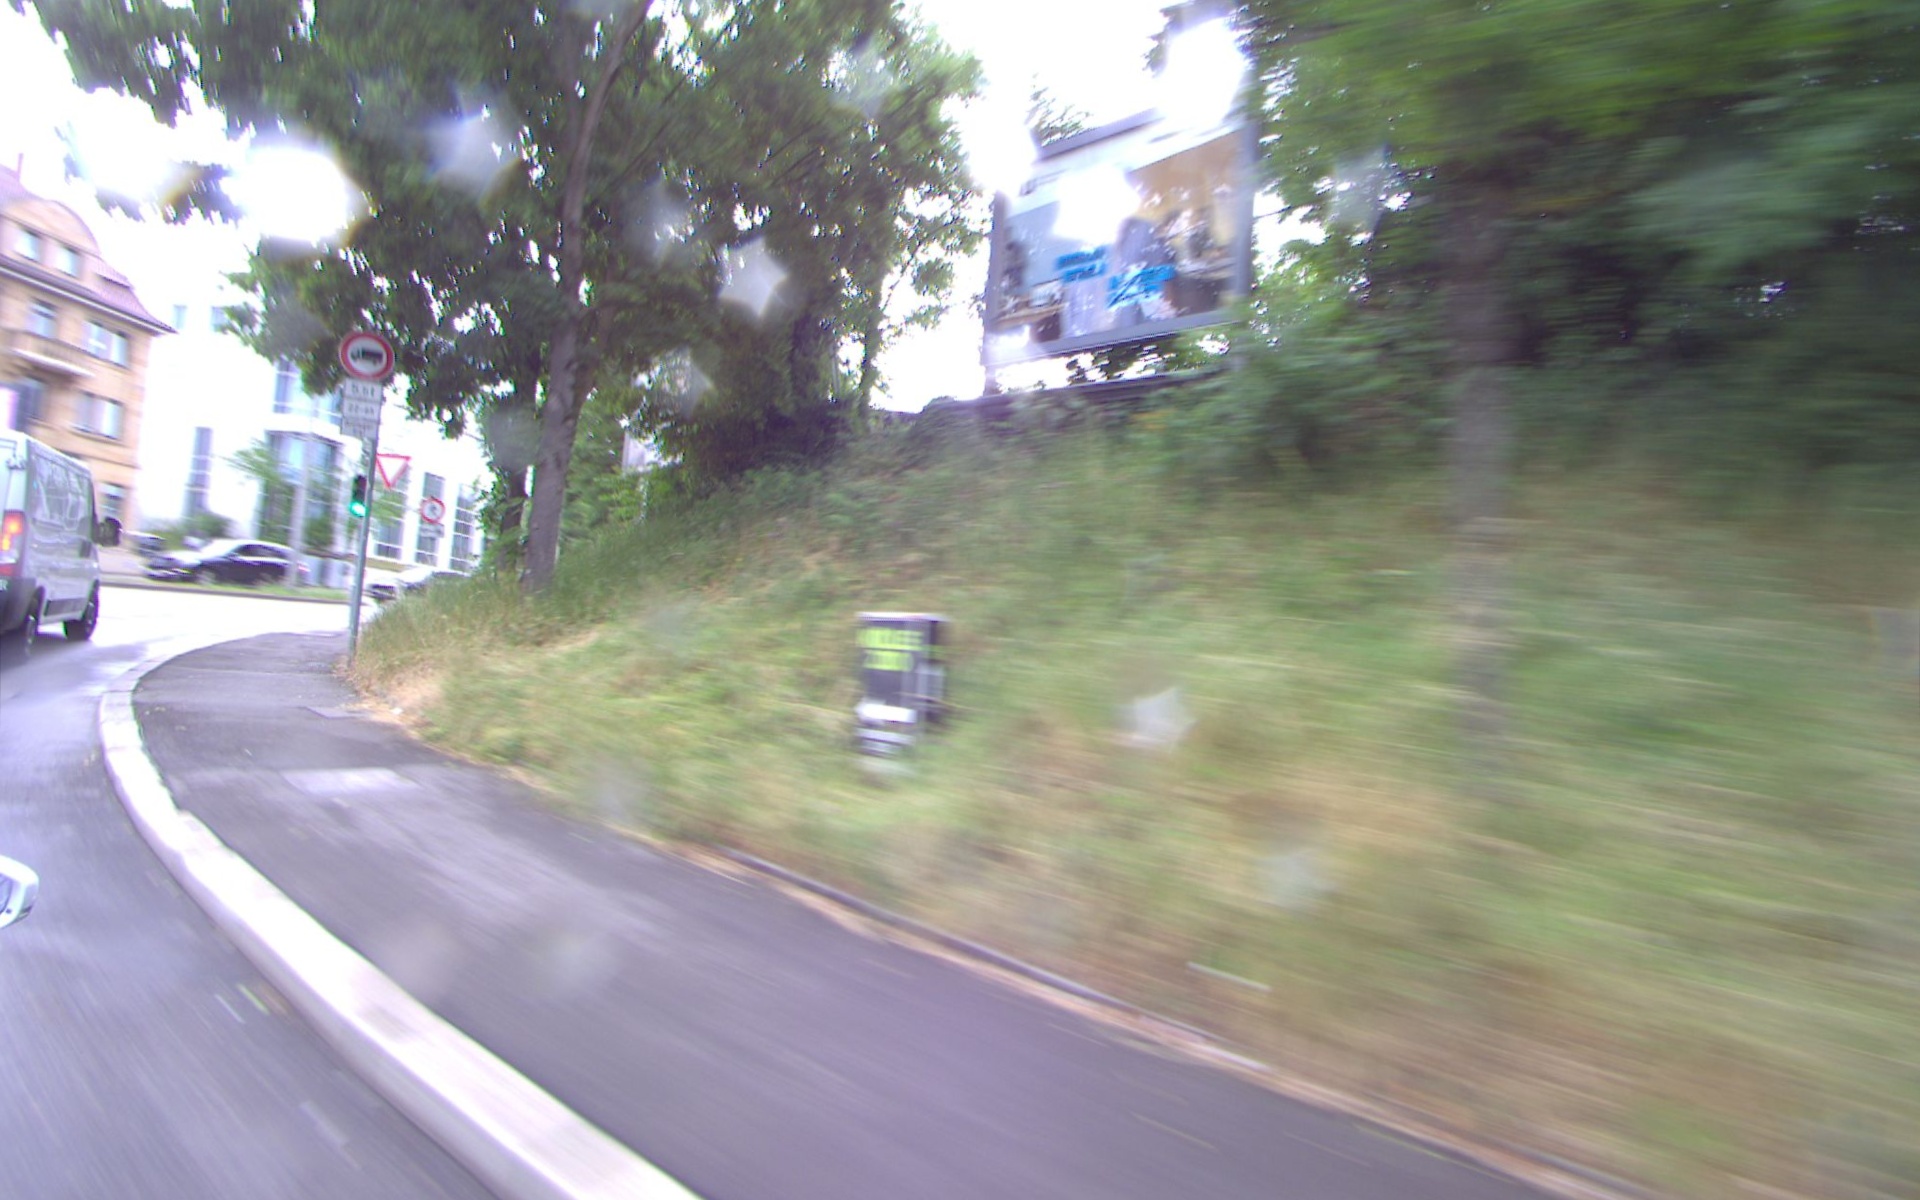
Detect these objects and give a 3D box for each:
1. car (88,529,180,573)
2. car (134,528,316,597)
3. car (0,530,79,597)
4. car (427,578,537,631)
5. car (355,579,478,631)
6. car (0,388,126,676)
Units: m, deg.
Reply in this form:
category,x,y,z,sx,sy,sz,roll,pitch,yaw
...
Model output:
category,x,y,z,sx,sy,sz,roll,pitch,yaw
car,-39.856,-2.354,48.606,2.993,1.694,1.719,4,-4,8
car,-24.075,-1.162,33.192,1.924,1.717,4.631,4,-2,13
car,-25.520,-1.103,25.536,1.777,1.547,4.451,4,-4,12
car,-16.824,0.185,35.582,1.666,1.441,3.375,5,-4,12
car,-22.162,0.272,41.242,1.661,1.621,4.738,4,-4,12
car,-10.594,-0.833,10.565,2.039,2.545,4.899,9,-2,-34
